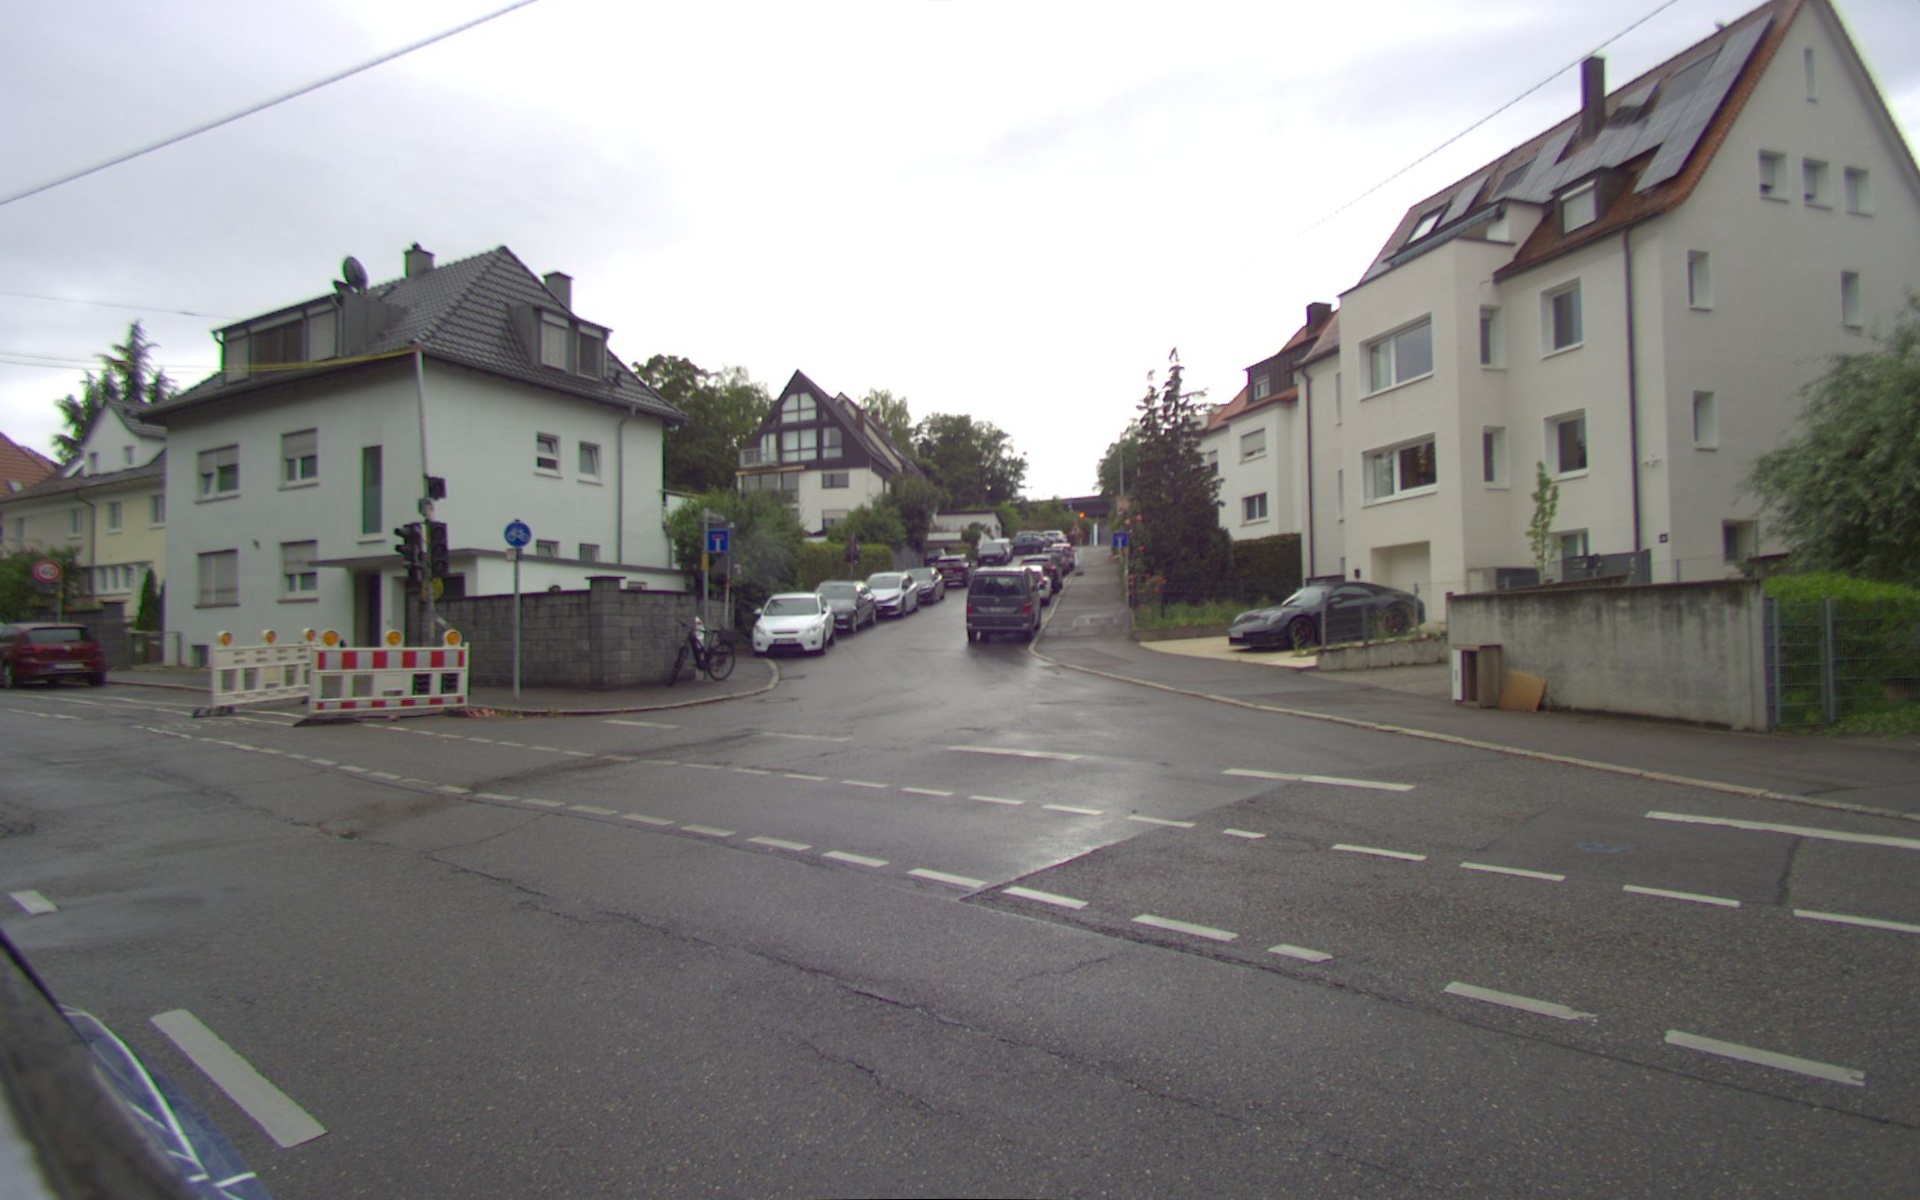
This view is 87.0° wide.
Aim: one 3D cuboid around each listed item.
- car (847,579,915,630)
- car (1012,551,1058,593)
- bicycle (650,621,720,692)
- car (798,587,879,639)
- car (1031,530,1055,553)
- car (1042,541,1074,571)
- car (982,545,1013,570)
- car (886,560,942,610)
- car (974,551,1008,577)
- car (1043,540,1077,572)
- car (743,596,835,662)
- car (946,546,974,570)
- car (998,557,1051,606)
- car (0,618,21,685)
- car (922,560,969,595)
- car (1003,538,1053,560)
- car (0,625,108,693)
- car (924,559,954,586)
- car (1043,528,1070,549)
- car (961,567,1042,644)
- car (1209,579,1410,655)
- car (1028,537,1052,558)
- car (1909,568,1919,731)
[{"bbox_3d":[-2.812,0.097,36.898,1.867,1.733,3.994,0,1,5],"label":"car"},{"bbox_3d":[3.401,-1.296,45.379,1.847,1.758,3.992,0,3,8],"label":"car"},{"bbox_3d":[-4.861,0.981,17.964,0.459,1.132,1.510,0,1,17],"label":"bicycle"},{"bbox_3d":[-3.768,0.352,32.048,1.867,1.477,3.996,0,1,3],"label":"car"},{"bbox_3d":[8.072,-5.645,98.165,1.977,2.028,3.989,0,1,9],"label":"car"},{"bbox_3d":[6.104,-2.754,62.949,1.847,1.758,3.992,0,3,8],"label":"car"},{"bbox_3d":[2.781,-3.088,74.116,1.869,1.733,3.991,0,1,8],"label":"car"},{"bbox_3d":[-1.881,-0.654,42.752,1.867,2.007,3.994,0,1,5],"label":"car"},{"bbox_3d":[2.119,-2.400,67.989,1.869,1.733,3.991,0,1,8],"label":"car"},{"bbox_3d":[5.801,-2.570,58.468,1.847,1.758,3.992,0,3,8],"label":"car"},{"bbox_3d":[-4.293,0.672,25.994,1.863,1.477,4.003,0,1,-3],"label":"car"},{"bbox_3d":[-0.050,-3.060,74.174,1.863,1.733,4.003,0,1,-3],"label":"car"},{"bbox_3d":[2.609,-0.766,40.096,1.847,1.758,3.992,0,3,8],"label":"car"},{"bbox_3d":[-26.156,1.315,25.716,4.378,1.671,1.745,-1,-3,24],"label":"car"},{"bbox_3d":[-0.690,-1.152,52.075,1.869,1.733,3.991,0,1,8],"label":"car"},{"bbox_3d":[5.635,-4.179,83.739,3.956,1.733,1.886,0,1,10],"label":"car"},{"bbox_3d":[-21.609,1.334,23.385,4.213,1.451,1.605,-2,-2,30],"label":"car"},{"bbox_3d":[-1.446,-1.840,68.132,1.863,1.733,4.003,0,1,-3],"label":"car"},{"bbox_3d":[10.021,-6.320,104.621,1.983,2.028,3.977,0,1,18],"label":"car"},{"bbox_3d":[1.255,0.093,29.057,1.976,1.933,3.992,0,3,8],"label":"car"},{"bbox_3d":[7.518,0.344,21.882,3.754,1.519,1.740,-1,-1,-16],"label":"car"},{"bbox_3d":[7.021,-4.548,88.105,1.869,1.733,3.991,0,1,8],"label":"car"},{"bbox_3d":[10.632,0.386,8.513,3.935,1.455,1.843,-1,-1,-11],"label":"car"}]
